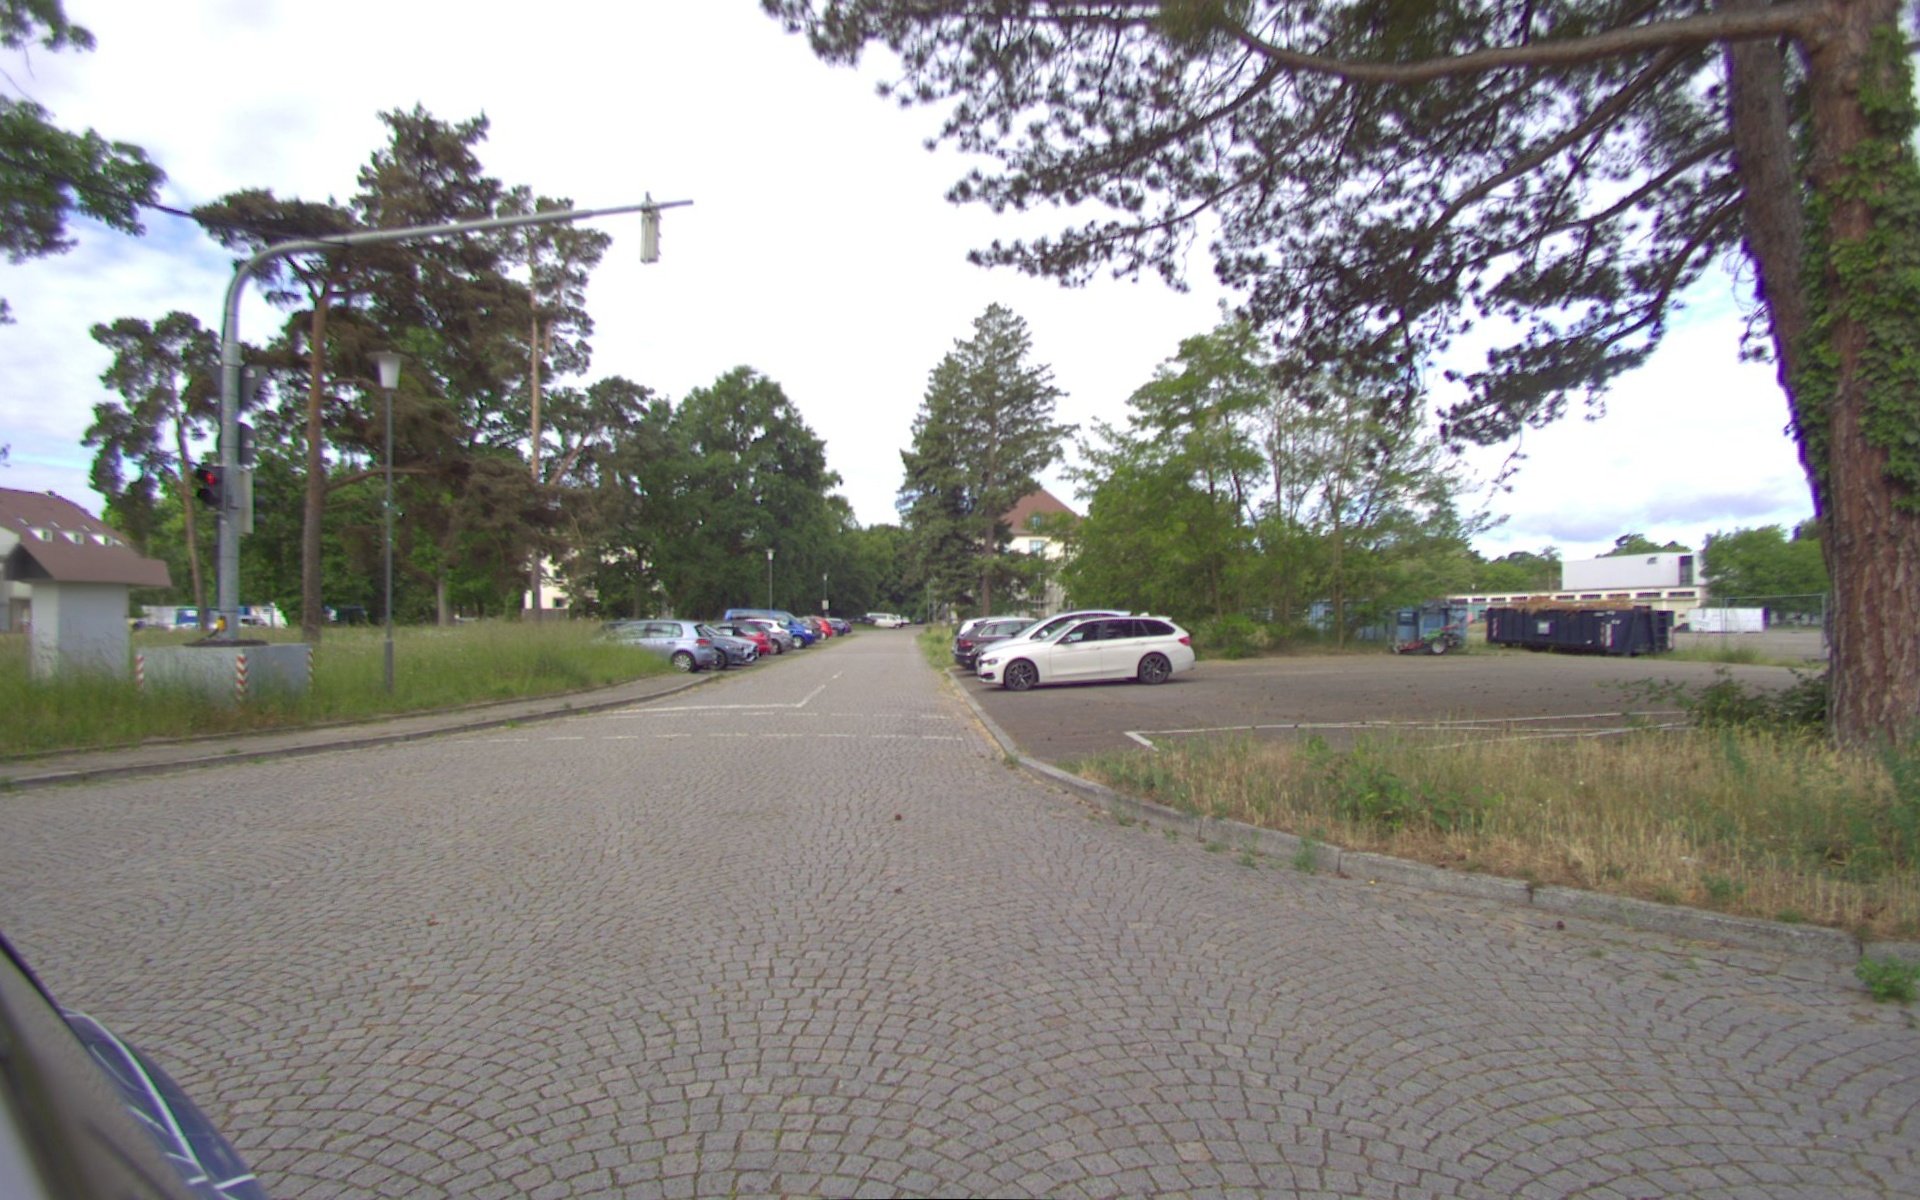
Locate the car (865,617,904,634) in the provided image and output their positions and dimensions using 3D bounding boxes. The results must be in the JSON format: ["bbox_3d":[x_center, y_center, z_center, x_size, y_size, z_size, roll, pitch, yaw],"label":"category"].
[{"bbox_3d":[-10.112,3.362,134.764,5.073,2.166,1.777,1,-1,-5],"label":"car"}]

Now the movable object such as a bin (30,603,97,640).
[{"bbox_3d":[-95.510,2.268,107.850,5.389,3.798,2.052,-1,-1,2],"label":"movable object such as a bin"}]

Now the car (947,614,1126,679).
[{"bbox_3d":[1.942,1.186,26.560,4.382,1.435,1.724,-3,-1,-4],"label":"car"}]

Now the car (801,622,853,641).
[{"bbox_3d":[-11.290,2.659,86.019,4.046,1.545,1.723,1,-1,5],"label":"car"}]

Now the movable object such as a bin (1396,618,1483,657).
[{"bbox_3d":[14.605,1.137,30.861,2.235,1.134,0.859,1,-1,-3],"label":"movable object such as a bin"}]

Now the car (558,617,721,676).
[{"bbox_3d":[-8.759,1.269,27.939,3.954,1.439,1.699,2,-1,-3],"label":"car"}]

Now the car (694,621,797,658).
[{"bbox_3d":[-9.179,1.675,43.464,4.044,1.528,1.699,1,-1,1],"label":"car"}]

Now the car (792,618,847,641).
[{"bbox_3d":[-11.267,2.369,81.332,4.036,1.708,1.723,1,-1,5],"label":"car"}]

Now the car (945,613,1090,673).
[{"bbox_3d":[1.621,1.218,29.227,3.902,1.481,1.586,-3,-1,-5],"label":"car"}]

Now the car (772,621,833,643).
[{"bbox_3d":[-11.027,2.262,70.981,4.029,1.455,1.726,1,-1,0],"label":"car"}]

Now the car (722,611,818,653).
[{"bbox_3d":[-9.692,1.629,51.798,4.541,2.021,1.912,1,-1,0],"label":"car"}]

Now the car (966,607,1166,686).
[{"bbox_3d":[2.447,1.069,23.933,4.308,1.610,1.876,-2,-1,-8],"label":"car"}]

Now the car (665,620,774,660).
[{"bbox_3d":[-9.612,1.580,40.625,3.997,1.528,1.600,1,-1,1],"label":"car"}]

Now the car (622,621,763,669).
[{"bbox_3d":[-8.741,1.452,33.314,4.191,1.485,1.717,1,-1,1],"label":"car"}]

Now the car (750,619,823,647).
[{"bbox_3d":[-10.371,1.991,60.680,4.030,1.605,1.654,1,-1,1],"label":"car"}]

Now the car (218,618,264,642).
[{"bbox_3d":[-75.399,3.135,106.227,1.836,2.382,4.449,-1,-1,-2],"label":"car"}]

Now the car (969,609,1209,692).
[{"bbox_3d":[2.634,1.039,21.384,4.683,1.499,1.868,-2,-2,-4],"label":"car"}]

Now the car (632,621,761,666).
[{"bbox_3d":[-9.256,1.521,35.777,4.126,1.493,1.717,1,-1,-1],"label":"car"}]

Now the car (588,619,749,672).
[{"bbox_3d":[-8.716,1.369,30.569,4.376,1.394,1.665,2,-1,-3],"label":"car"}]

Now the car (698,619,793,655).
[{"bbox_3d":[-9.792,1.682,46.372,3.997,1.528,1.600,1,-1,1],"label":"car"}]

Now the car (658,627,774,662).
[{"bbox_3d":[-9.099,1.665,37.967,3.995,1.250,1.550,1,-1,-1],"label":"car"}]
